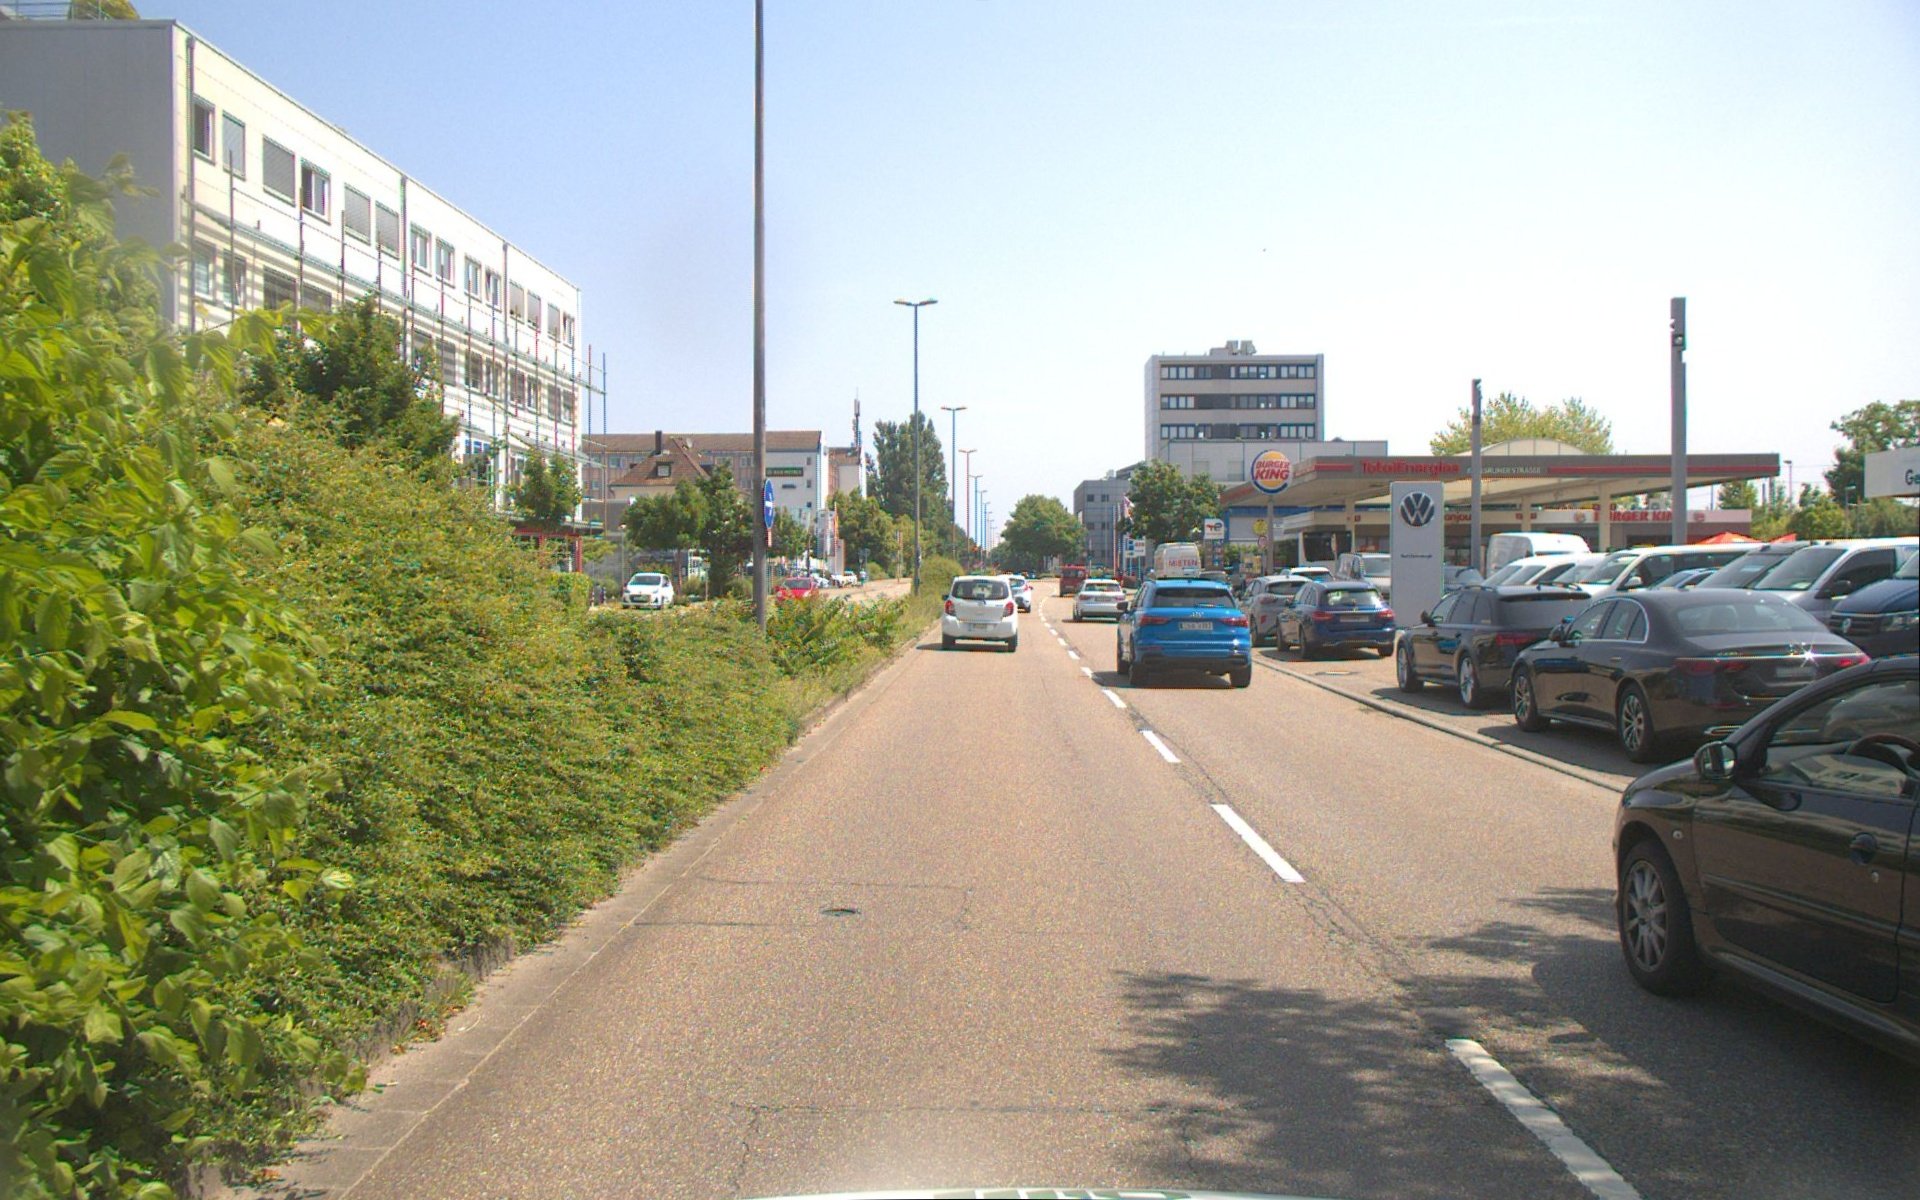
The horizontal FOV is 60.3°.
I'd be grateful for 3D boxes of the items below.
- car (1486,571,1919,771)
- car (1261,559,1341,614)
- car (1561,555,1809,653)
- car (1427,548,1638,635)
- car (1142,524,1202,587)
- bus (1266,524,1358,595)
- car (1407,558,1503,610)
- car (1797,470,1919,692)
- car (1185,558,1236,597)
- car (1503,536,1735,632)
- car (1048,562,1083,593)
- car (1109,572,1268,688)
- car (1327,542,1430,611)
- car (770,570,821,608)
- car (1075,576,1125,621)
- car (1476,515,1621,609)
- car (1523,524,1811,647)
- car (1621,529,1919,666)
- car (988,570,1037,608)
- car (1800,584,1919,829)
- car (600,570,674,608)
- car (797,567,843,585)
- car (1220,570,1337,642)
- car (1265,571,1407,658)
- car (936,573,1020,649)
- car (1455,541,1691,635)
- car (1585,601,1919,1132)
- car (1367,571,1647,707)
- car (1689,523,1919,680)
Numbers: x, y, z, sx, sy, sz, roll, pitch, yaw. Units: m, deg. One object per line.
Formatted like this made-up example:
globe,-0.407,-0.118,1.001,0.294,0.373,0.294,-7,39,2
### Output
car,6.839,0.533,15.970,1.920,1.556,5.162,-2,1,1
car,10.699,-0.452,52.145,1.633,1.623,4.614,-2,1,1
car,12.383,0.057,28.444,3.553,1.598,1.717,0,0,7
car,13.513,-0.222,39.212,4.322,1.915,1.909,-1,1,0
car,10.696,-2.240,83.992,2.089,2.888,7.311,-5,1,1
bus,16.545,-1.983,78.563,2.745,3.132,12.294,0,2,5
car,15.593,-0.524,52.293,1.707,1.540,4.602,1,1,1
car,13.593,-0.184,20.095,5.720,2.568,2.205,1,-1,4
car,10.641,-0.975,70.519,1.623,1.545,3.821,-2,1,1
car,13.743,-0.326,34.641,4.065,1.812,1.881,-2,-1,0
car,6.207,-1.293,97.820,1.758,1.759,3.972,1,0,-1
car,3.503,0.396,26.151,1.874,1.625,4.396,1,2,0
car,13.089,-0.736,52.035,1.952,2.058,5.161,1,1,1
car,-6.871,-0.458,69.237,1.597,1.449,3.451,-3,0,2
car,4.703,-0.064,55.916,1.632,1.423,3.796,0,1,4
car,18.415,-1.186,52.209,2.209,2.722,7.020,-1,1,1
car,13.216,-0.293,31.111,4.546,2.048,1.960,-2,1,-1
car,13.081,-0.075,25.821,4.687,2.018,2.005,0,3,2
car,2.082,-0.434,66.766,1.792,1.475,3.999,1,0,-1
car,6.593,0.636,9.181,1.647,1.460,4.440,-2,0,1
car,-13.702,-0.440,70.058,1.664,1.521,3.994,2,-2,-34
car,-12.617,-2.141,149.400,3.903,1.579,1.866,1,-1,4
car,7.384,0.102,38.694,1.698,1.579,4.177,0,1,-4
car,7.469,0.254,33.316,1.678,1.575,4.790,-1,0,-1
car,0.350,0.260,35.641,1.677,1.537,3.246,1,-1,-2
car,13.316,-0.249,36.096,4.462,1.921,1.857,1,-1,0
car,3.446,0.754,5.141,1.567,1.450,3.660,0,1,-1
car,7.047,0.424,21.965,1.817,1.507,5.154,-3,1,-2
car,13.511,0.035,22.974,5.774,2.049,2.259,1,0,-1
